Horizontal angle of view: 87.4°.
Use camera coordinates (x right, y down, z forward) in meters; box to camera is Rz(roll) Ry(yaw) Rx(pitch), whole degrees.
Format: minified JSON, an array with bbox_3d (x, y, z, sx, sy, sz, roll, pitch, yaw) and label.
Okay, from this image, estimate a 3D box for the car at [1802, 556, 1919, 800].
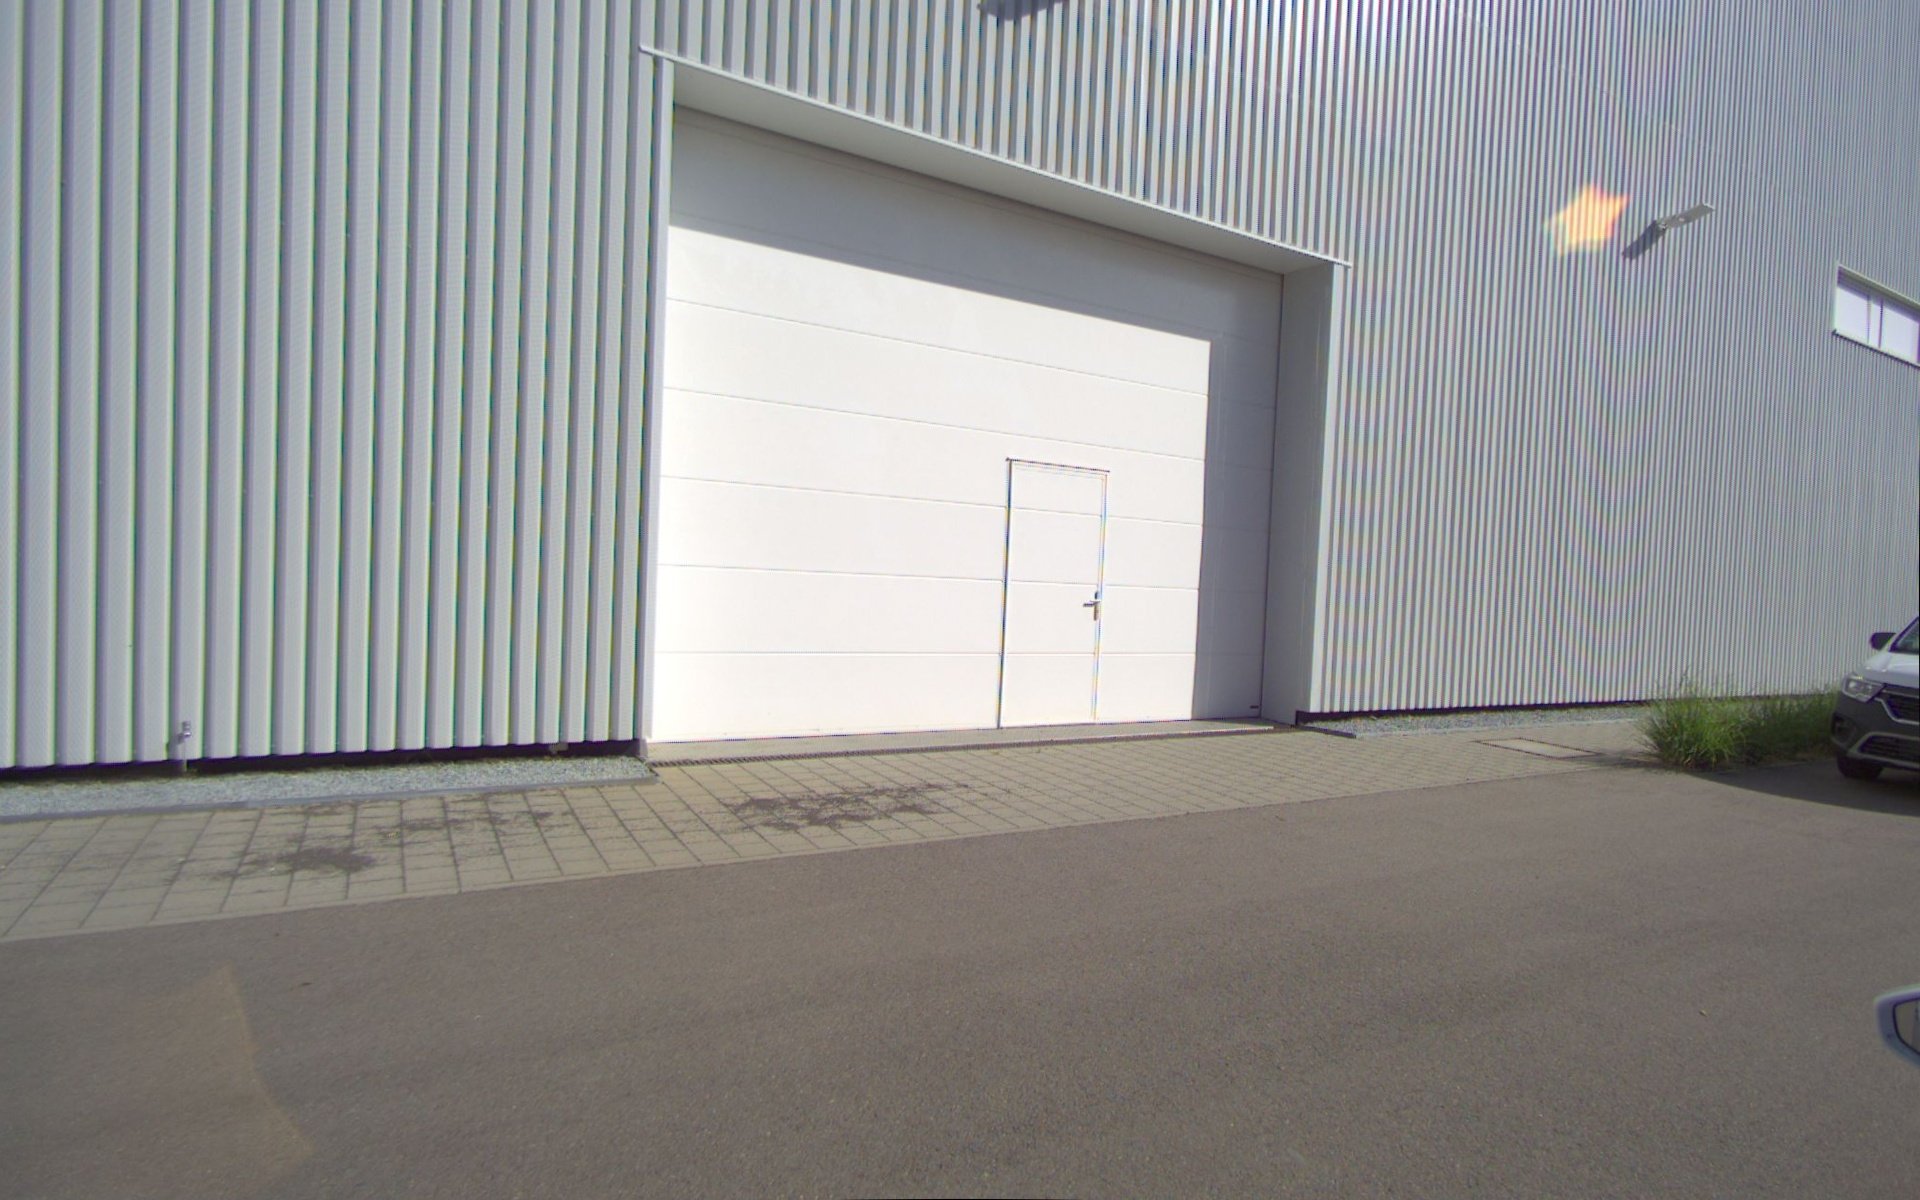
[{"bbox_3d":[9.381,0.696,8.650,4.549,1.840,1.774,2,2,-31],"label":"car"}]
